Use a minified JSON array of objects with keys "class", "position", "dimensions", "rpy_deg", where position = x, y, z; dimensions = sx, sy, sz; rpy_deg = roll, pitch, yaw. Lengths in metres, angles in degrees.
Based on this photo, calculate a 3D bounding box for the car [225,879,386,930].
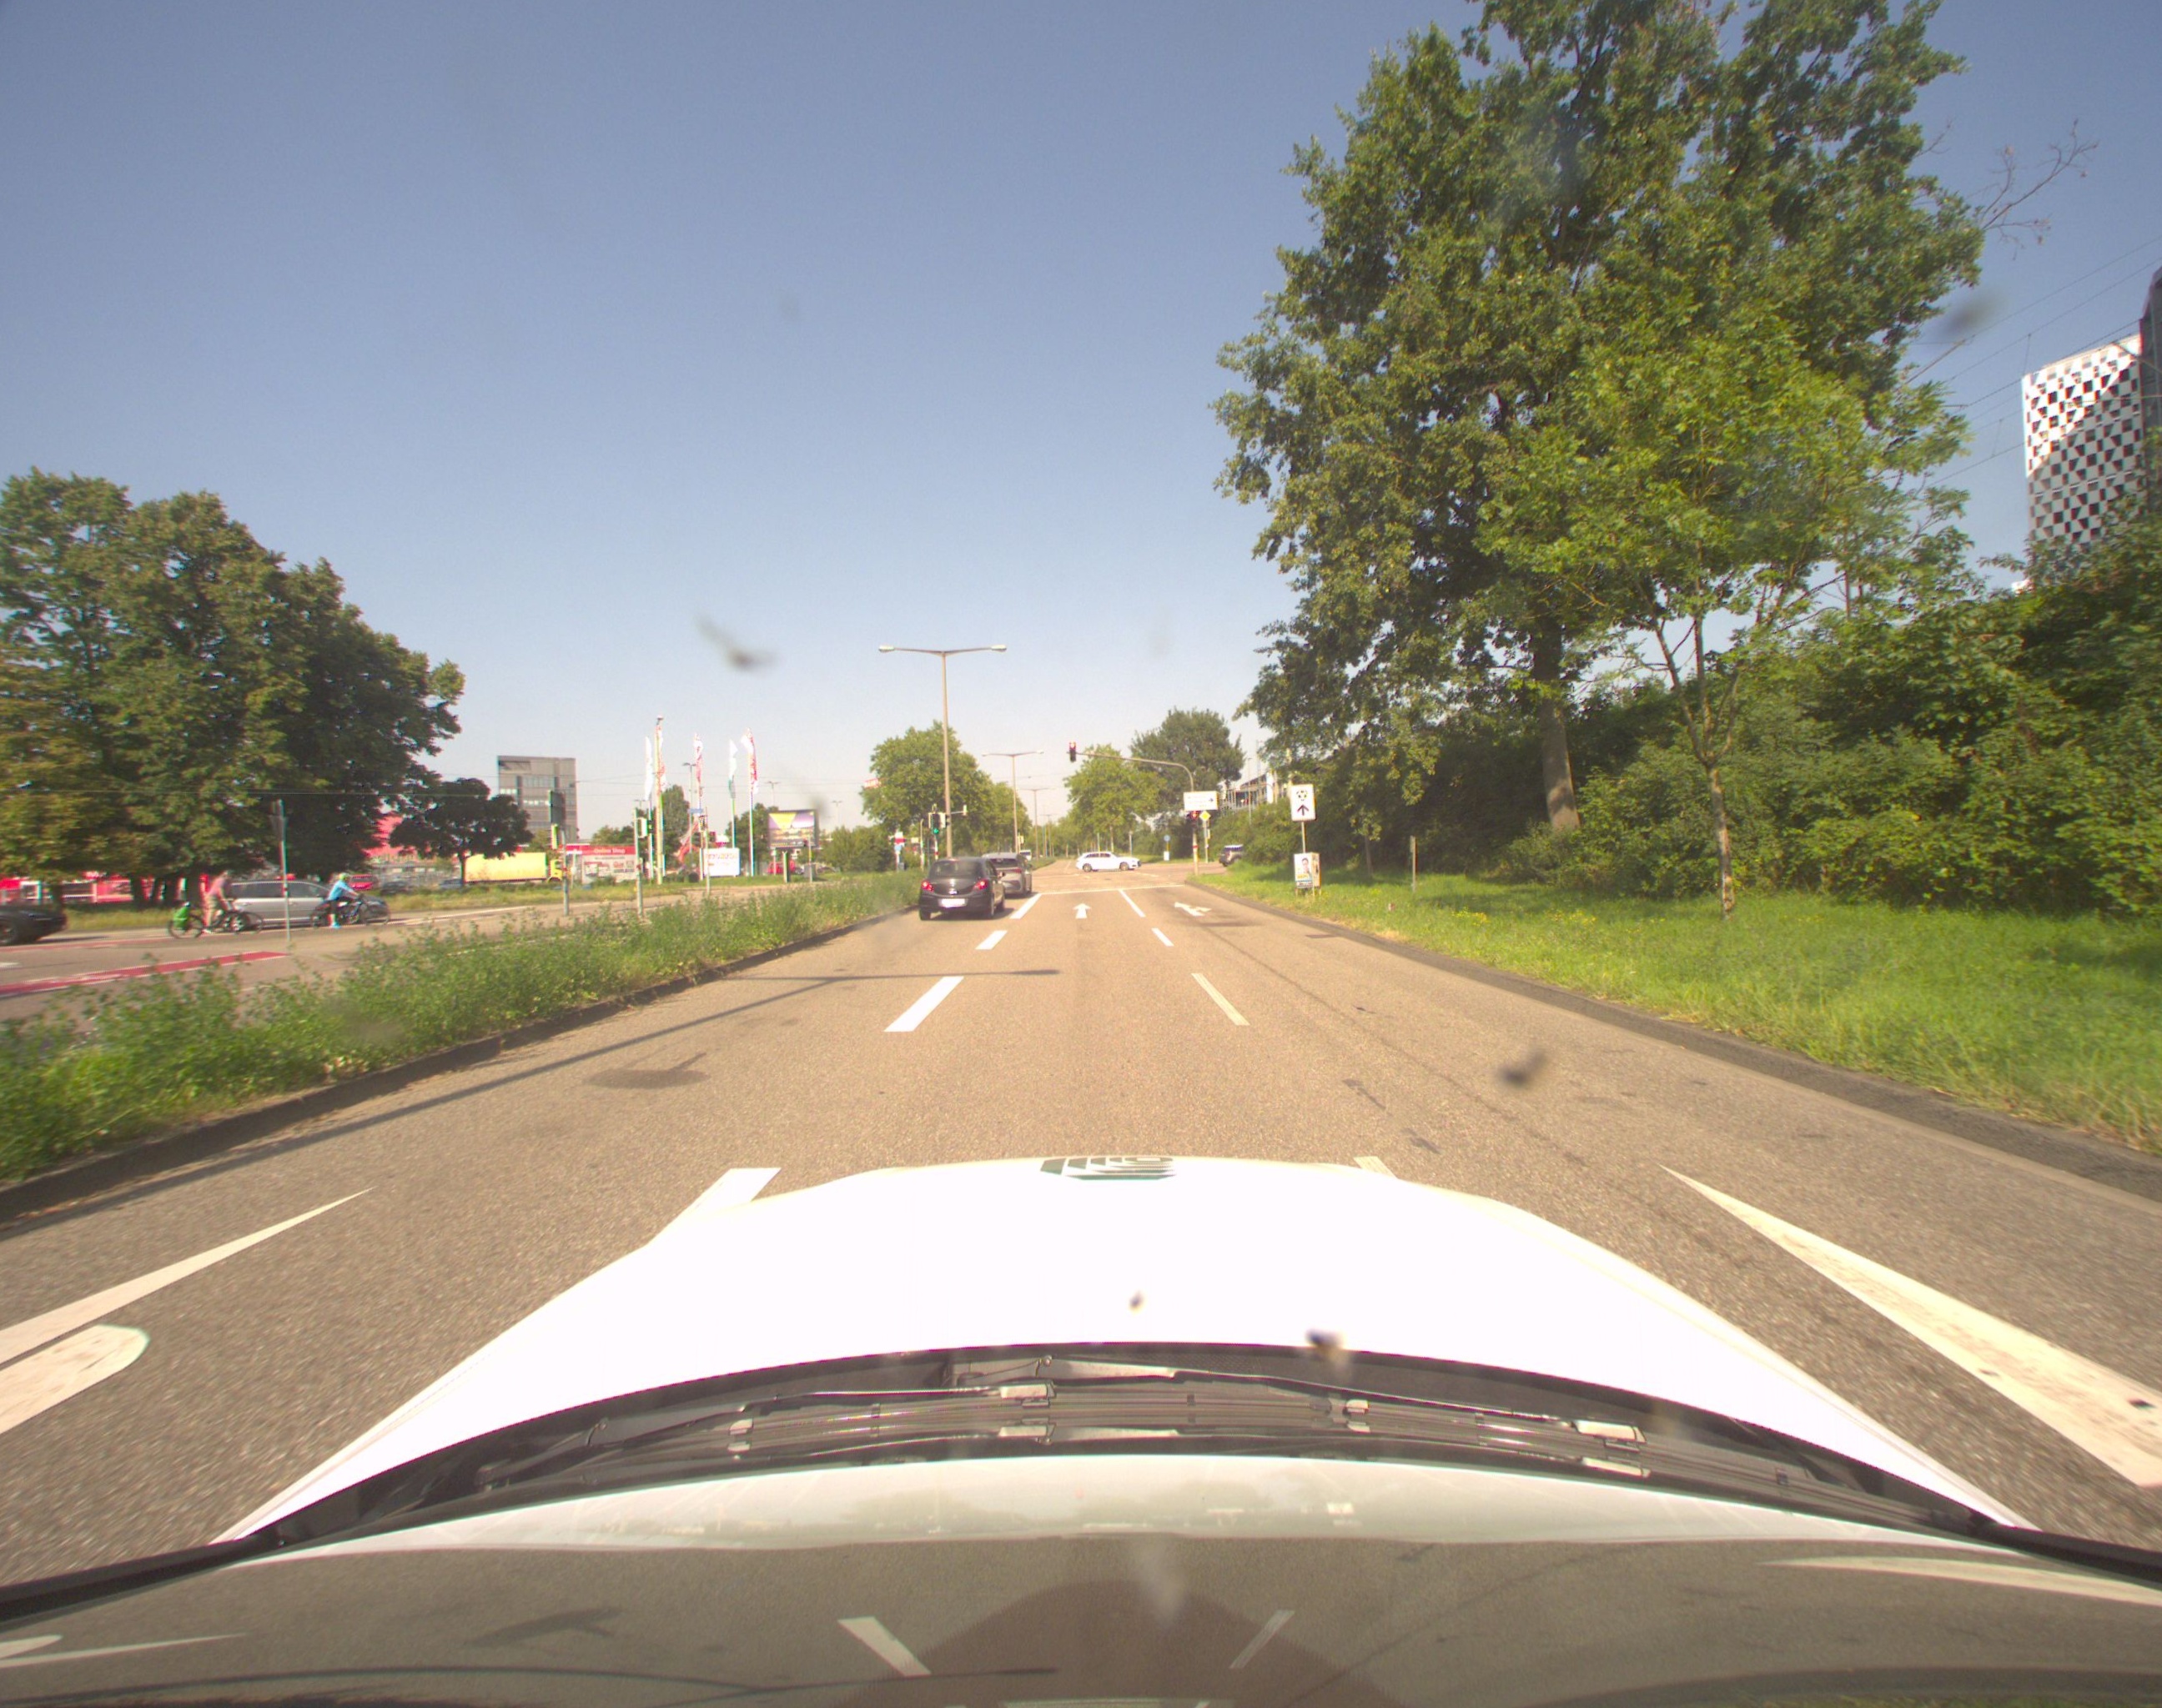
[{"class":"car","position":[-25.888,1.636,27.357],"dimensions":[3.719,1.443,1.450],"rpy_deg":[-1,0,-36]}]

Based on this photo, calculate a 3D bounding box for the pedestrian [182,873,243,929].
[{"class":"pedestrian","position":[-25.589,1.353,24.026],"dimensions":[1.063,1.575,0.859],"rpy_deg":[-1,0,-36]}]

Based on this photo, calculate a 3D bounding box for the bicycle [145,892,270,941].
[{"class":"bicycle","position":[-25.621,1.800,23.959],"dimensions":[2.371,1.235,0.864],"rpy_deg":[-1,0,-36]}]

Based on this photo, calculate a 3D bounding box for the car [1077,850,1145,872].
[{"class":"car","position":[2.142,0.496,58.912],"dimensions":[4.567,1.486,1.707],"rpy_deg":[-1,0,22]}]

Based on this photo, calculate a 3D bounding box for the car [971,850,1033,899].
[{"class":"car","position":[-2.671,0.647,28.242],"dimensions":[1.686,1.486,4.000],"rpy_deg":[-2,0,0]}]

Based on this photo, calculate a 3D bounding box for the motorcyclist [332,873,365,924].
[{"class":"motorcyclist","position":[-23.142,1.399,25.741],"dimensions":[0.687,1.572,0.676],"rpy_deg":[-1,0,-36]}]

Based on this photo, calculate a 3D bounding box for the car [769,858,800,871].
[{"class":"car","position":[-46.437,1.657,127.532],"dimensions":[4.307,2.013,1.979],"rpy_deg":[-1,0,-33]}]

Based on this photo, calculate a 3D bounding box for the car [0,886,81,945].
[{"class":"car","position":[-31.939,1.811,23.023],"dimensions":[4.331,1.579,1.555],"rpy_deg":[-1,0,-36]}]

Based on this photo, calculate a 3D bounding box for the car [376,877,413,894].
[{"class":"car","position":[-50.786,2.333,60.316],"dimensions":[1.617,1.135,3.382],"rpy_deg":[-1,0,-32]}]

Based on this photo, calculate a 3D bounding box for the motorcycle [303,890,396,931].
[{"class":"motorcycle","position":[-23.098,1.775,25.765],"dimensions":[2.085,1.136,0.670],"rpy_deg":[-2,-1,-36]}]

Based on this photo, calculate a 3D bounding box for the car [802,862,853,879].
[{"class":"car","position":[-19.655,1.291,63.213],"dimensions":[3.356,1.137,1.497],"rpy_deg":[-2,0,8]}]

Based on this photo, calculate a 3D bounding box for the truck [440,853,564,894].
[{"class":"truck","position":[-35.839,1.186,50.543],"dimensions":[5.967,2.329,2.104],"rpy_deg":[-2,0,-3]}]

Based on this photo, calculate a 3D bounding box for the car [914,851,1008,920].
[{"class":"car","position":[-2.834,0.697,20.022],"dimensions":[1.686,1.486,4.000],"rpy_deg":[-1,0,0]}]

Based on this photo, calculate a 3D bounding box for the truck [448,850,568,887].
[{"class":"truck","position":[-54.058,1.318,77.122],"dimensions":[9.055,2.957,3.476],"rpy_deg":[-3,0,-36]}]

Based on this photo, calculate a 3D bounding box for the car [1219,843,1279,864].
[{"class":"car","position":[12.110,-0.036,58.685],"dimensions":[3.958,1.486,1.623],"rpy_deg":[-1,0,-4]}]
